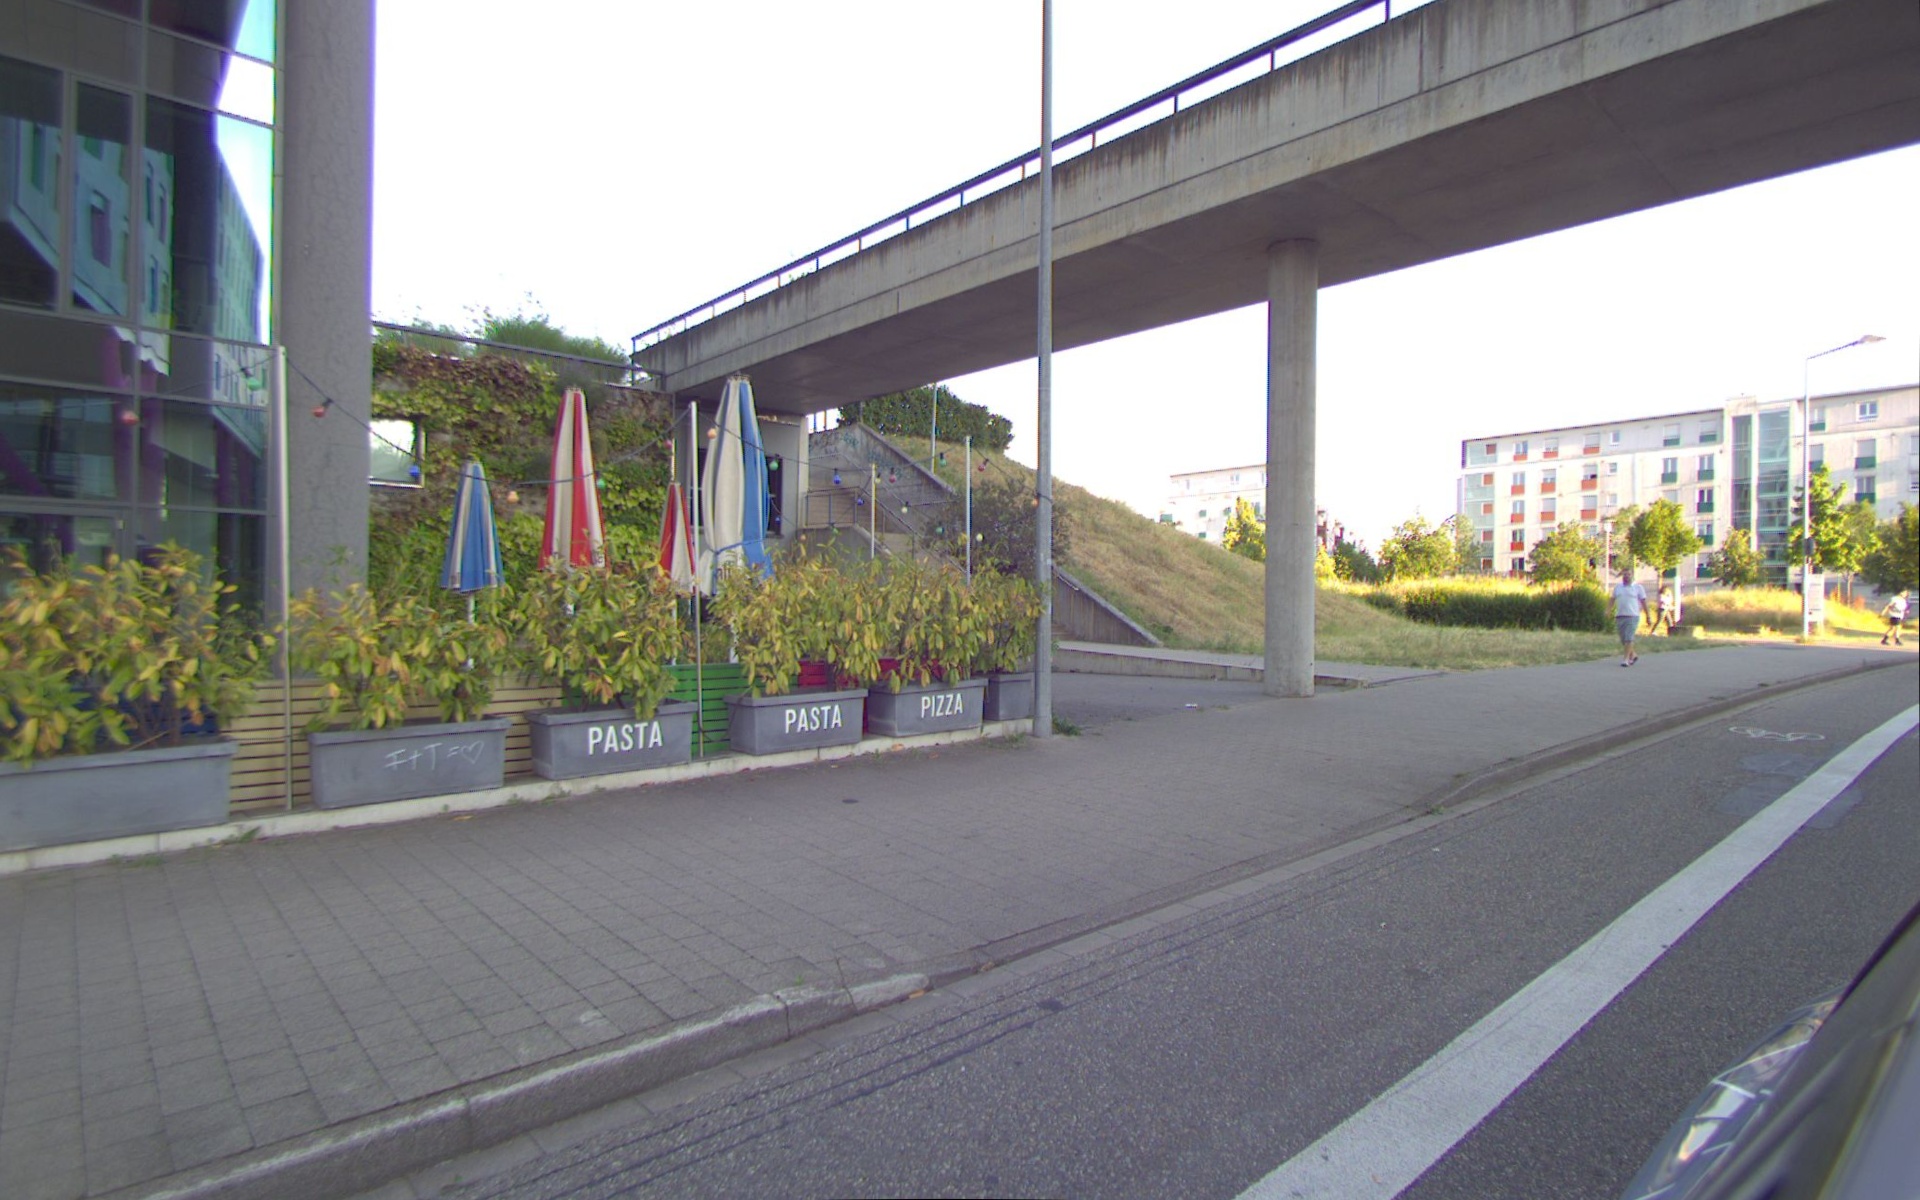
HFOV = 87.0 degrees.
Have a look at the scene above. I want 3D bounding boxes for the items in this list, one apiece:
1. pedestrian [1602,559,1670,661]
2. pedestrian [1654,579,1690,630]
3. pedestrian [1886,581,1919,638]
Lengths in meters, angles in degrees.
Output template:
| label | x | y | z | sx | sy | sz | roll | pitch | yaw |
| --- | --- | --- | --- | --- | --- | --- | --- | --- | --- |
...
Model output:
| label | x | y | z | sx | sy | sz | roll | pitch | yaw |
| --- | --- | --- | --- | --- | --- | --- | --- | --- | --- |
| pedestrian | 12.112 | 0.165 | 18.141 | 0.890 | 1.745 | 0.737 | 1 | 2 | -40 |
| pedestrian | 23.624 | 0.135 | 33.590 | 0.844 | 1.650 | 0.737 | 1 | 2 | -40 |
| pedestrian | 29.524 | 0.281 | 31.640 | 0.523 | 1.745 | 0.737 | 1 | 2 | -40 |
